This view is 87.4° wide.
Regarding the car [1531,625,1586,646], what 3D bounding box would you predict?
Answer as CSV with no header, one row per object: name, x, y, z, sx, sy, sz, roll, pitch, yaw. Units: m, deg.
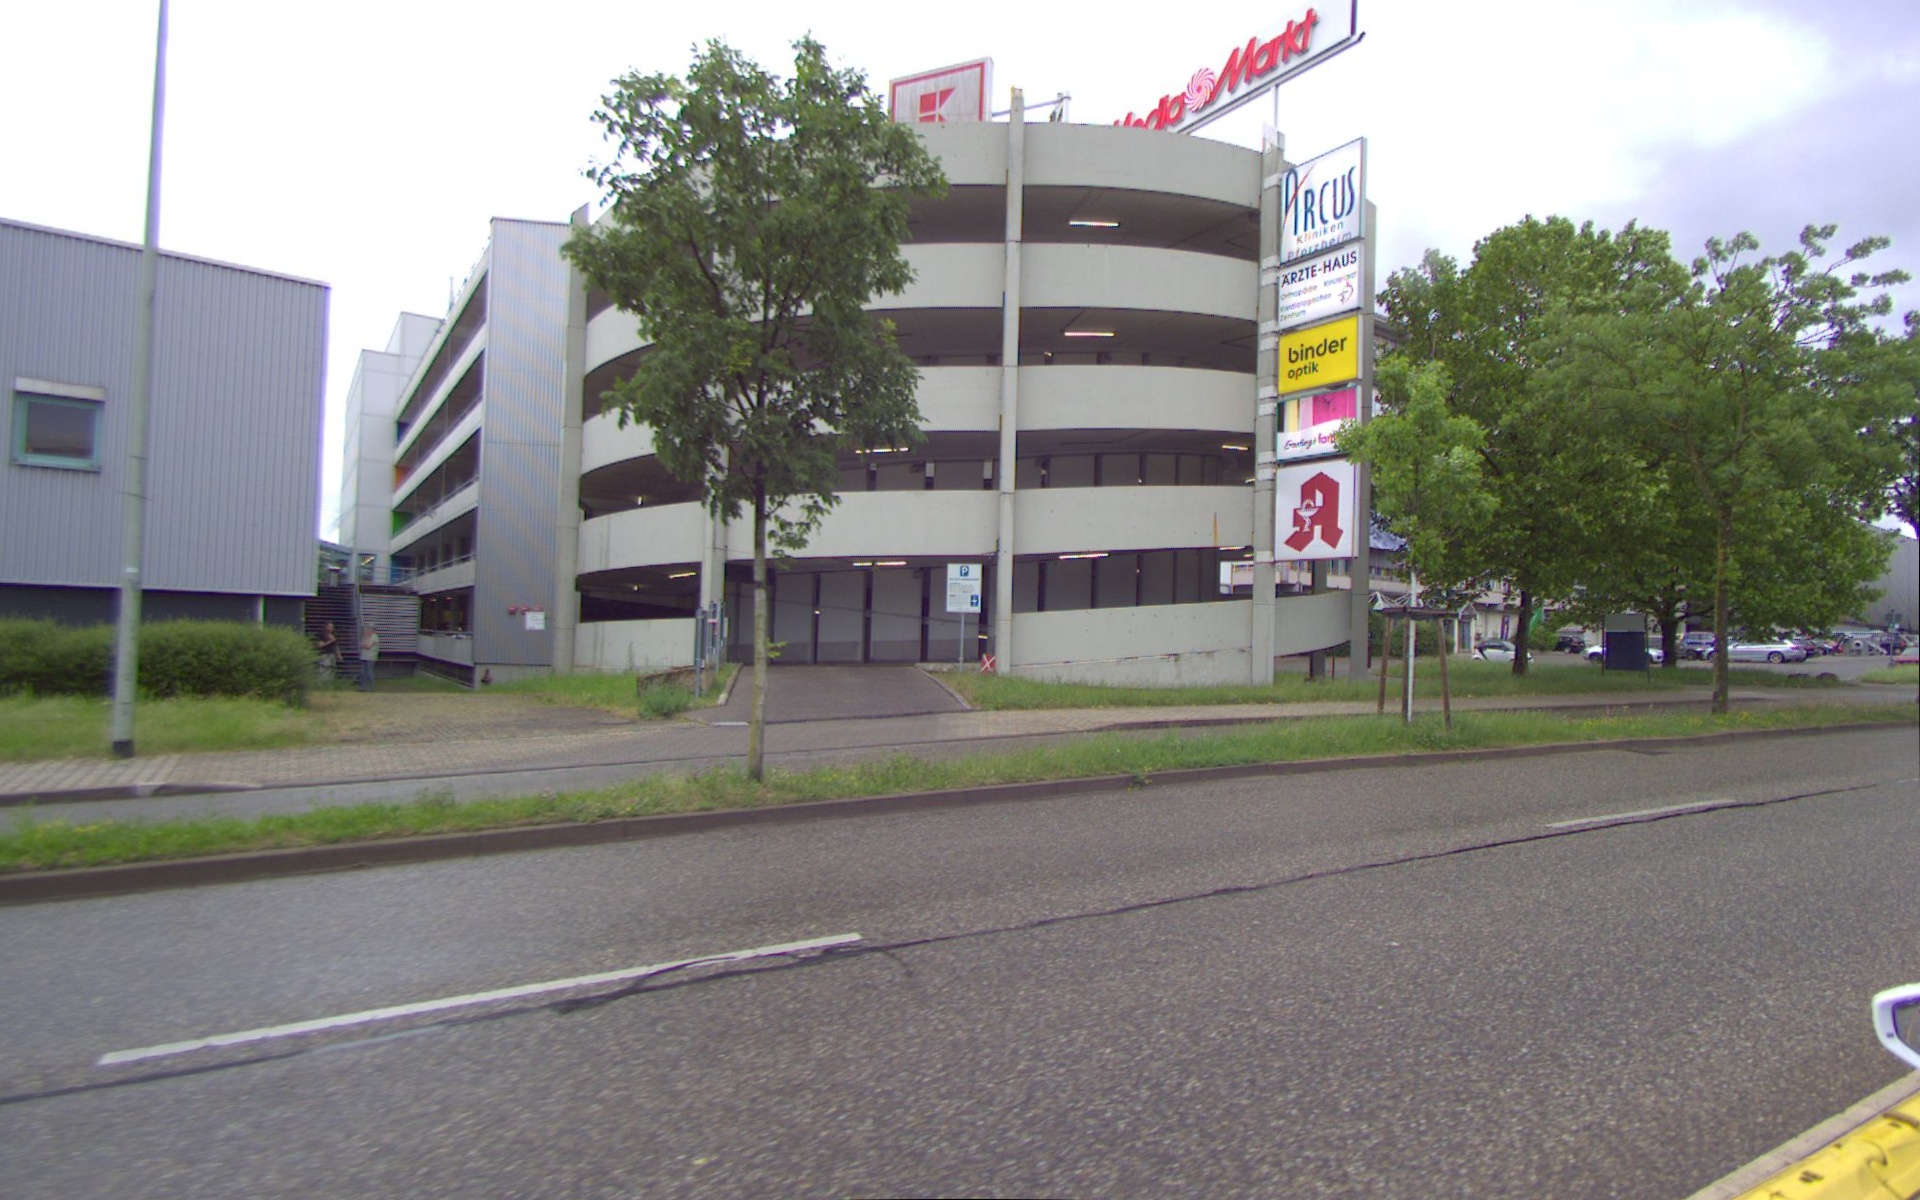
car,54.583,3.195,91.602,1.782,1.755,3.960,0,1,-35

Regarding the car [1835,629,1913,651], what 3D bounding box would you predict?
car,69.071,2.996,75.954,1.802,1.530,4.079,0,0,-36

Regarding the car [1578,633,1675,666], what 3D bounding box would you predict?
car,40.254,2.958,60.759,1.951,1.769,4.560,0,1,-40

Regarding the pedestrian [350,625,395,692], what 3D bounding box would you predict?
pedestrian,-14.441,1.429,24.694,0.854,1.596,0.445,2,0,-39

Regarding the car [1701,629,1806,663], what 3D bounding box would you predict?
car,47.159,2.712,59.757,1.948,1.769,4.566,0,1,-36

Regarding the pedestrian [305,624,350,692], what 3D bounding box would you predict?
pedestrian,-15.243,1.399,24.210,0.854,1.596,0.445,2,0,-39

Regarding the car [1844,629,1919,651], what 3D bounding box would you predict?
car,70.867,3.038,77.256,1.802,1.530,4.079,0,0,-36

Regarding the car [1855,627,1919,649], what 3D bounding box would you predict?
car,72.787,2.981,78.387,1.802,1.530,4.161,0,0,-36

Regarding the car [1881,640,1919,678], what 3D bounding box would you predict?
car,47.323,2.902,49.462,4.662,1.630,1.921,0,1,-34

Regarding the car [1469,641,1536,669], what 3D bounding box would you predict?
car,28.497,2.885,52.773,1.596,1.383,2.675,0,-2,-39

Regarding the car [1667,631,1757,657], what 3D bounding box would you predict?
car,51.605,2.971,69.008,2.006,1.530,4.577,0,0,-36

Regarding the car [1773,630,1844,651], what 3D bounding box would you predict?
car,68.218,3.247,80.796,1.802,1.530,4.079,0,0,-36

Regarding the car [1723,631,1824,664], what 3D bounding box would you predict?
car,49.540,2.879,61.250,1.882,1.769,4.467,0,1,-36
